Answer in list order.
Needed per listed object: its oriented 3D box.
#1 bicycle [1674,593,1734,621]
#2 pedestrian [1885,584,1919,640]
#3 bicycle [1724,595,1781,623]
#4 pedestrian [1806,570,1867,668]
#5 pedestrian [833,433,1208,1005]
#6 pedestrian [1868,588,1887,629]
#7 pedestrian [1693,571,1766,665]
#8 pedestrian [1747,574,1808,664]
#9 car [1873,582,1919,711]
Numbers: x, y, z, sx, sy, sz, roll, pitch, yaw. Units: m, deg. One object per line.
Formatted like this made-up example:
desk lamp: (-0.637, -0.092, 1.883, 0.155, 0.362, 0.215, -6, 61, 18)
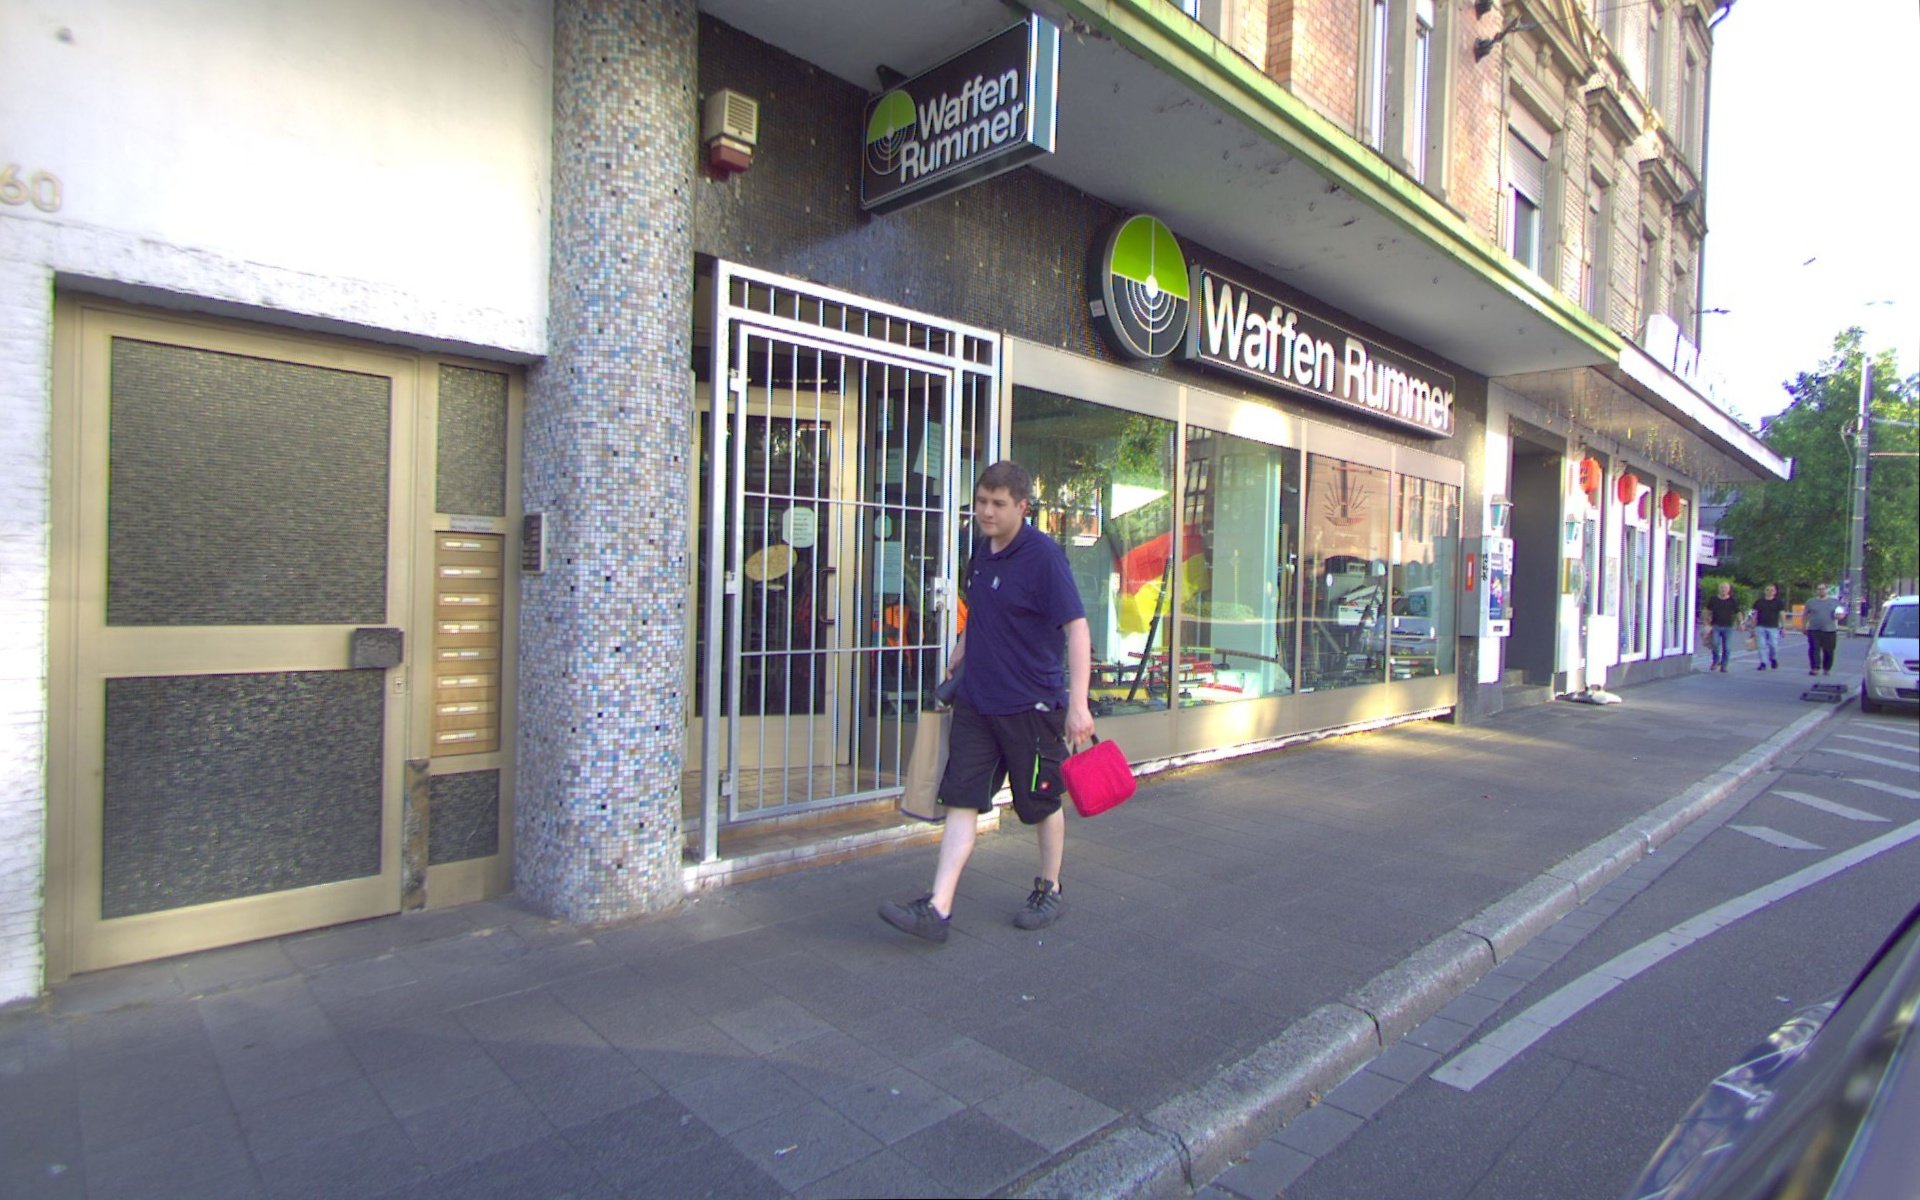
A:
bicycle: (32.512, 0.283, 44.236, 2.012, 1.109, 0.628, 4, 2, 40)
pedestrian: (30.743, 0.386, 32.972, 0.930, 1.759, 0.788, 0, 1, -44)
bicycle: (34.176, 0.380, 43.661, 0.461, 1.109, 1.882, 0, 2, -45)
pedestrian: (17.821, 0.370, 20.578, 1.016, 1.922, 0.794, 0, 2, -44)
pedestrian: (0.233, 0.358, 3.907, 1.037, 1.814, 0.947, 0, 2, -44)
pedestrian: (39.569, 0.346, 43.642, 0.430, 1.734, 0.493, 0, 3, -44)
pedestrian: (15.071, 0.338, 19.817, 1.016, 1.734, 0.902, 0, 4, -44)
pedestrian: (17.003, 0.376, 21.043, 1.016, 1.778, 0.811, 0, 2, -44)
car: (13.803, 0.587, 13.948, 1.638, 1.635, 3.881, 1, 1, 45)
